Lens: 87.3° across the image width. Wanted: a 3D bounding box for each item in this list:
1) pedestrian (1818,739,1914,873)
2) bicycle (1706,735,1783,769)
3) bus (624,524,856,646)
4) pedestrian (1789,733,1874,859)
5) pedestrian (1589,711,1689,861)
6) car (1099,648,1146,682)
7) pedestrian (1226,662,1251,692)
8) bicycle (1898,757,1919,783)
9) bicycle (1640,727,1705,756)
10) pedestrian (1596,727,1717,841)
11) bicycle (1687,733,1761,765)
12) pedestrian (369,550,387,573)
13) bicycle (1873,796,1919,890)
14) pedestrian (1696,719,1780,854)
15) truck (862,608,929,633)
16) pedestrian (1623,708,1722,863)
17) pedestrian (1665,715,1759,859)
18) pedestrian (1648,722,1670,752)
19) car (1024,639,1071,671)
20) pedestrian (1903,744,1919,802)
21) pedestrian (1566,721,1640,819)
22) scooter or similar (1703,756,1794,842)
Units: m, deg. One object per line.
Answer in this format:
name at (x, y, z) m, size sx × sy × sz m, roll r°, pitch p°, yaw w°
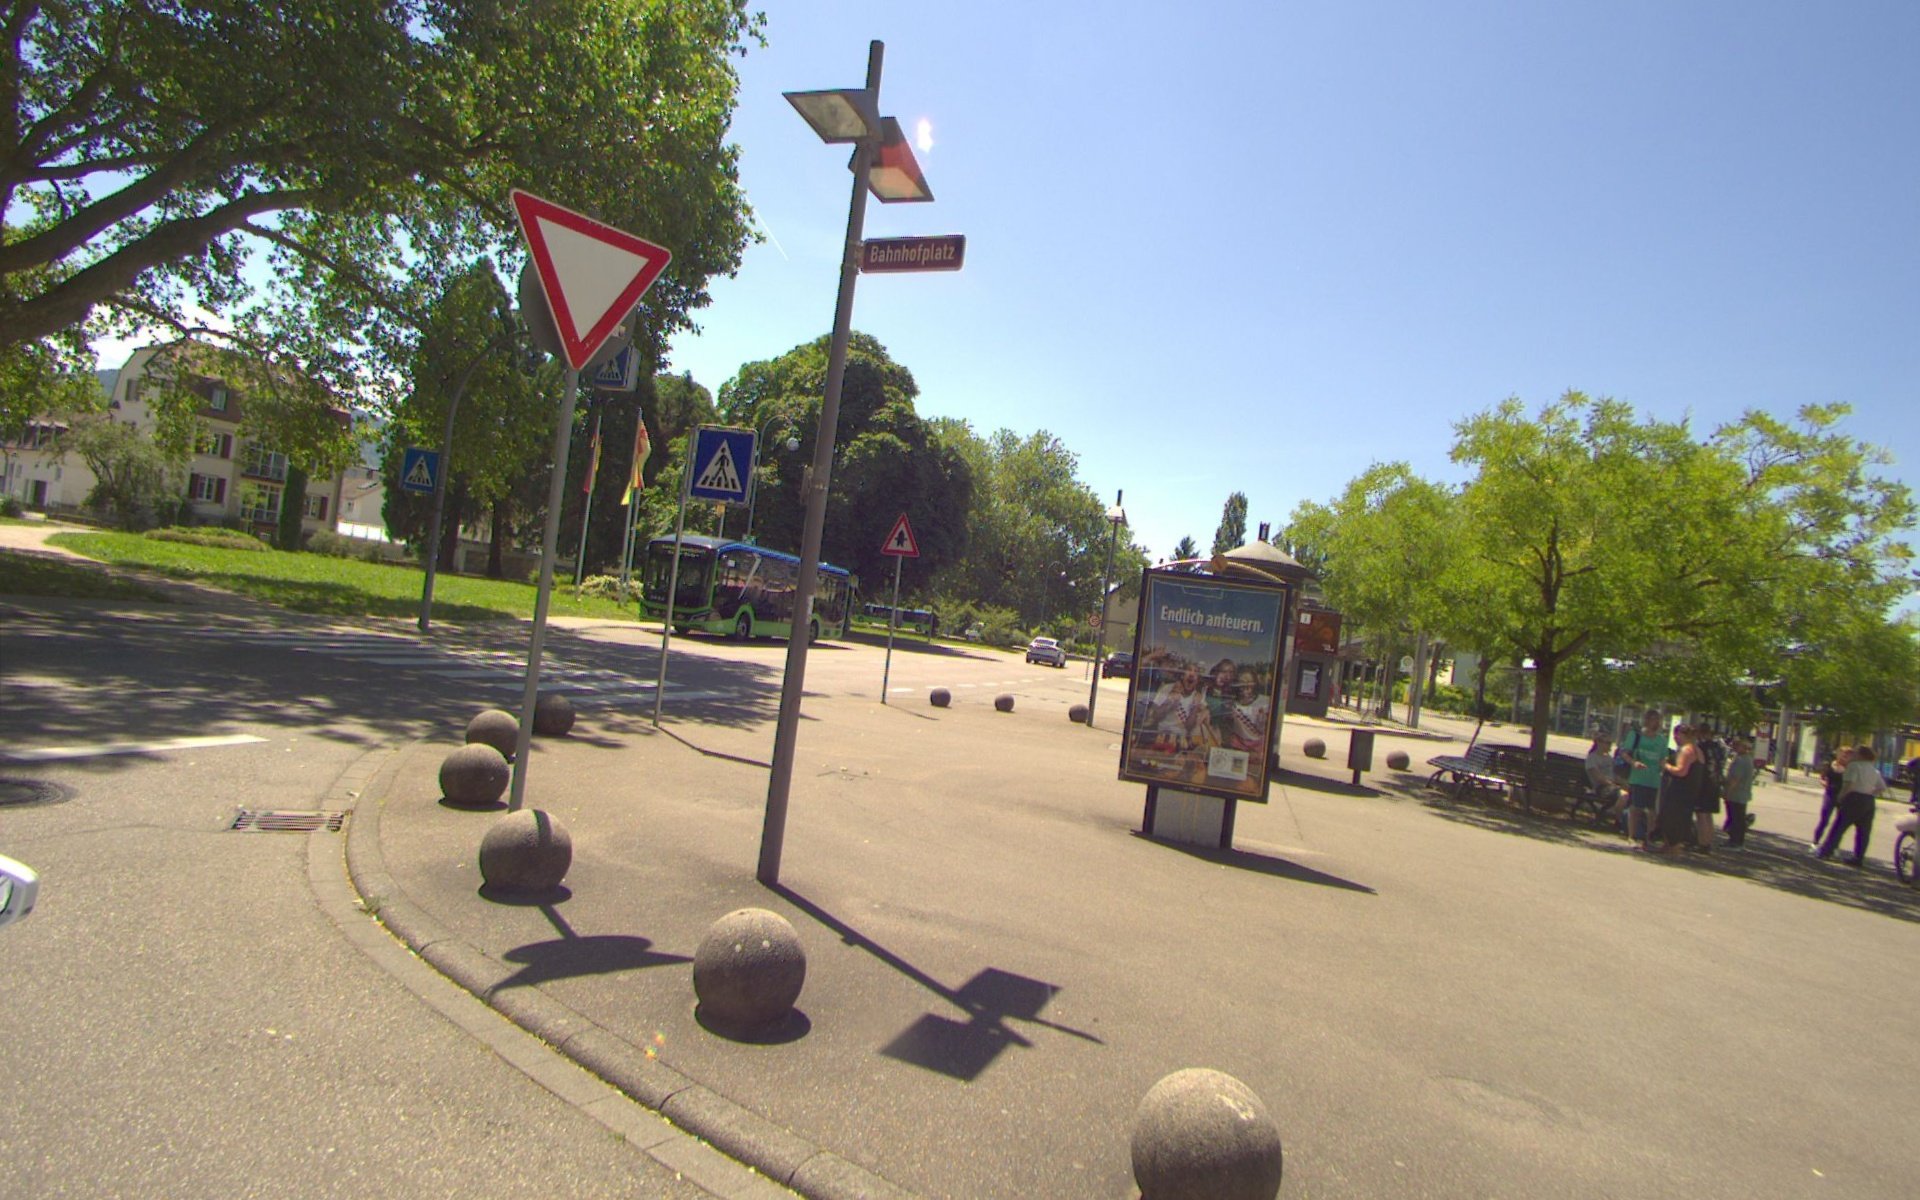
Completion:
pedestrian at (12.714, 2.880, 14.130) m, size 0.608 × 1.705 × 0.591 m, roll 7°, pitch 0°, yaw 3°
bicycle at (38.243, 7.406, 49.067) m, size 2.743 × 1.015 × 0.812 m, roll 10°, pitch -1°, yaw 13°
bus at (-7.527, -0.215, 37.429) m, size 2.764 × 3.321 × 12.436 m, roll 8°, pitch -1°, yaw 15°
pedestrian at (12.885, 2.877, 14.882) m, size 0.545 × 1.705 × 0.587 m, roll 7°, pitch 0°, yaw 3°
pedestrian at (8.755, 2.385, 12.990) m, size 0.682 × 1.785 × 0.584 m, roll 7°, pitch 0°, yaw -11°
car at (8.482, 3.364, 52.236) m, size 1.896 × 1.477 × 4.730 m, roll 5°, pitch -2°, yaw 14°
pedestrian at (14.604, 4.023, 52.747) m, size 0.883 × 1.435 × 0.685 m, roll 8°, pitch 0°, yaw -23°
bicycle at (44.872, 8.006, 45.958) m, size 2.743 × 1.015 × 0.968 m, roll 10°, pitch -1°, yaw 13°
bicycle at (39.736, 7.885, 56.163) m, size 2.743 × 1.015 × 0.812 m, roll 10°, pitch -1°, yaw 13°
pedestrian at (10.056, 2.640, 14.556) m, size 0.899 × 1.402 × 0.941 m, roll 8°, pitch 0°, yaw -15°
bicycle at (38.290, 7.454, 50.449) m, size 2.743 × 1.015 × 0.812 m, roll 10°, pitch -1°, yaw 13°
pedestrian at (-39.897, -2.651, 69.023) m, size 0.818 × 1.386 × 0.614 m, roll 10°, pitch -1°, yaw -25°
bicycle at (12.330, 3.133, 12.532) m, size 0.413 × 1.072 × 1.951 m, roll 7°, pitch -1°, yaw 13°
pedestrian at (10.904, 2.602, 14.107) m, size 0.504 × 1.760 × 0.569 m, roll 8°, pitch 0°, yaw -14°
truck at (-9.589, 2.973, 147.854) m, size 11.205 × 2.377 × 2.276 m, roll 7°, pitch -1°, yaw 41°
pedestrian at (8.751, 2.266, 12.371) m, size 0.617 × 1.760 × 0.547 m, roll 8°, pitch 0°, yaw -10°
pedestrian at (10.035, 2.483, 13.439) m, size 0.575 × 1.760 × 0.599 m, roll 8°, pitch 0°, yaw -10°
pedestrian at (35.807, 7.000, 51.508) m, size 0.615 × 1.411 × 0.677 m, roll 6°, pitch -1°, yaw 15°
car at (5.369, 3.342, 61.084) m, size 1.951 × 1.646 × 4.782 m, roll 7°, pitch -1°, yaw 14°
pedestrian at (31.704, 5.717, 33.132) m, size 0.680 × 1.831 × 0.630 m, roll 7°, pitch 0°, yaw 37°
pedestrian at (10.083, 2.660, 15.781) m, size 0.590 × 1.381 × 0.598 m, roll 7°, pitch 0°, yaw -13°
scooter or similar at (12.464, 3.138, 15.910) m, size 1.009 × 1.152 × 0.294 m, roll 8°, pitch 0°, yaw 8°
